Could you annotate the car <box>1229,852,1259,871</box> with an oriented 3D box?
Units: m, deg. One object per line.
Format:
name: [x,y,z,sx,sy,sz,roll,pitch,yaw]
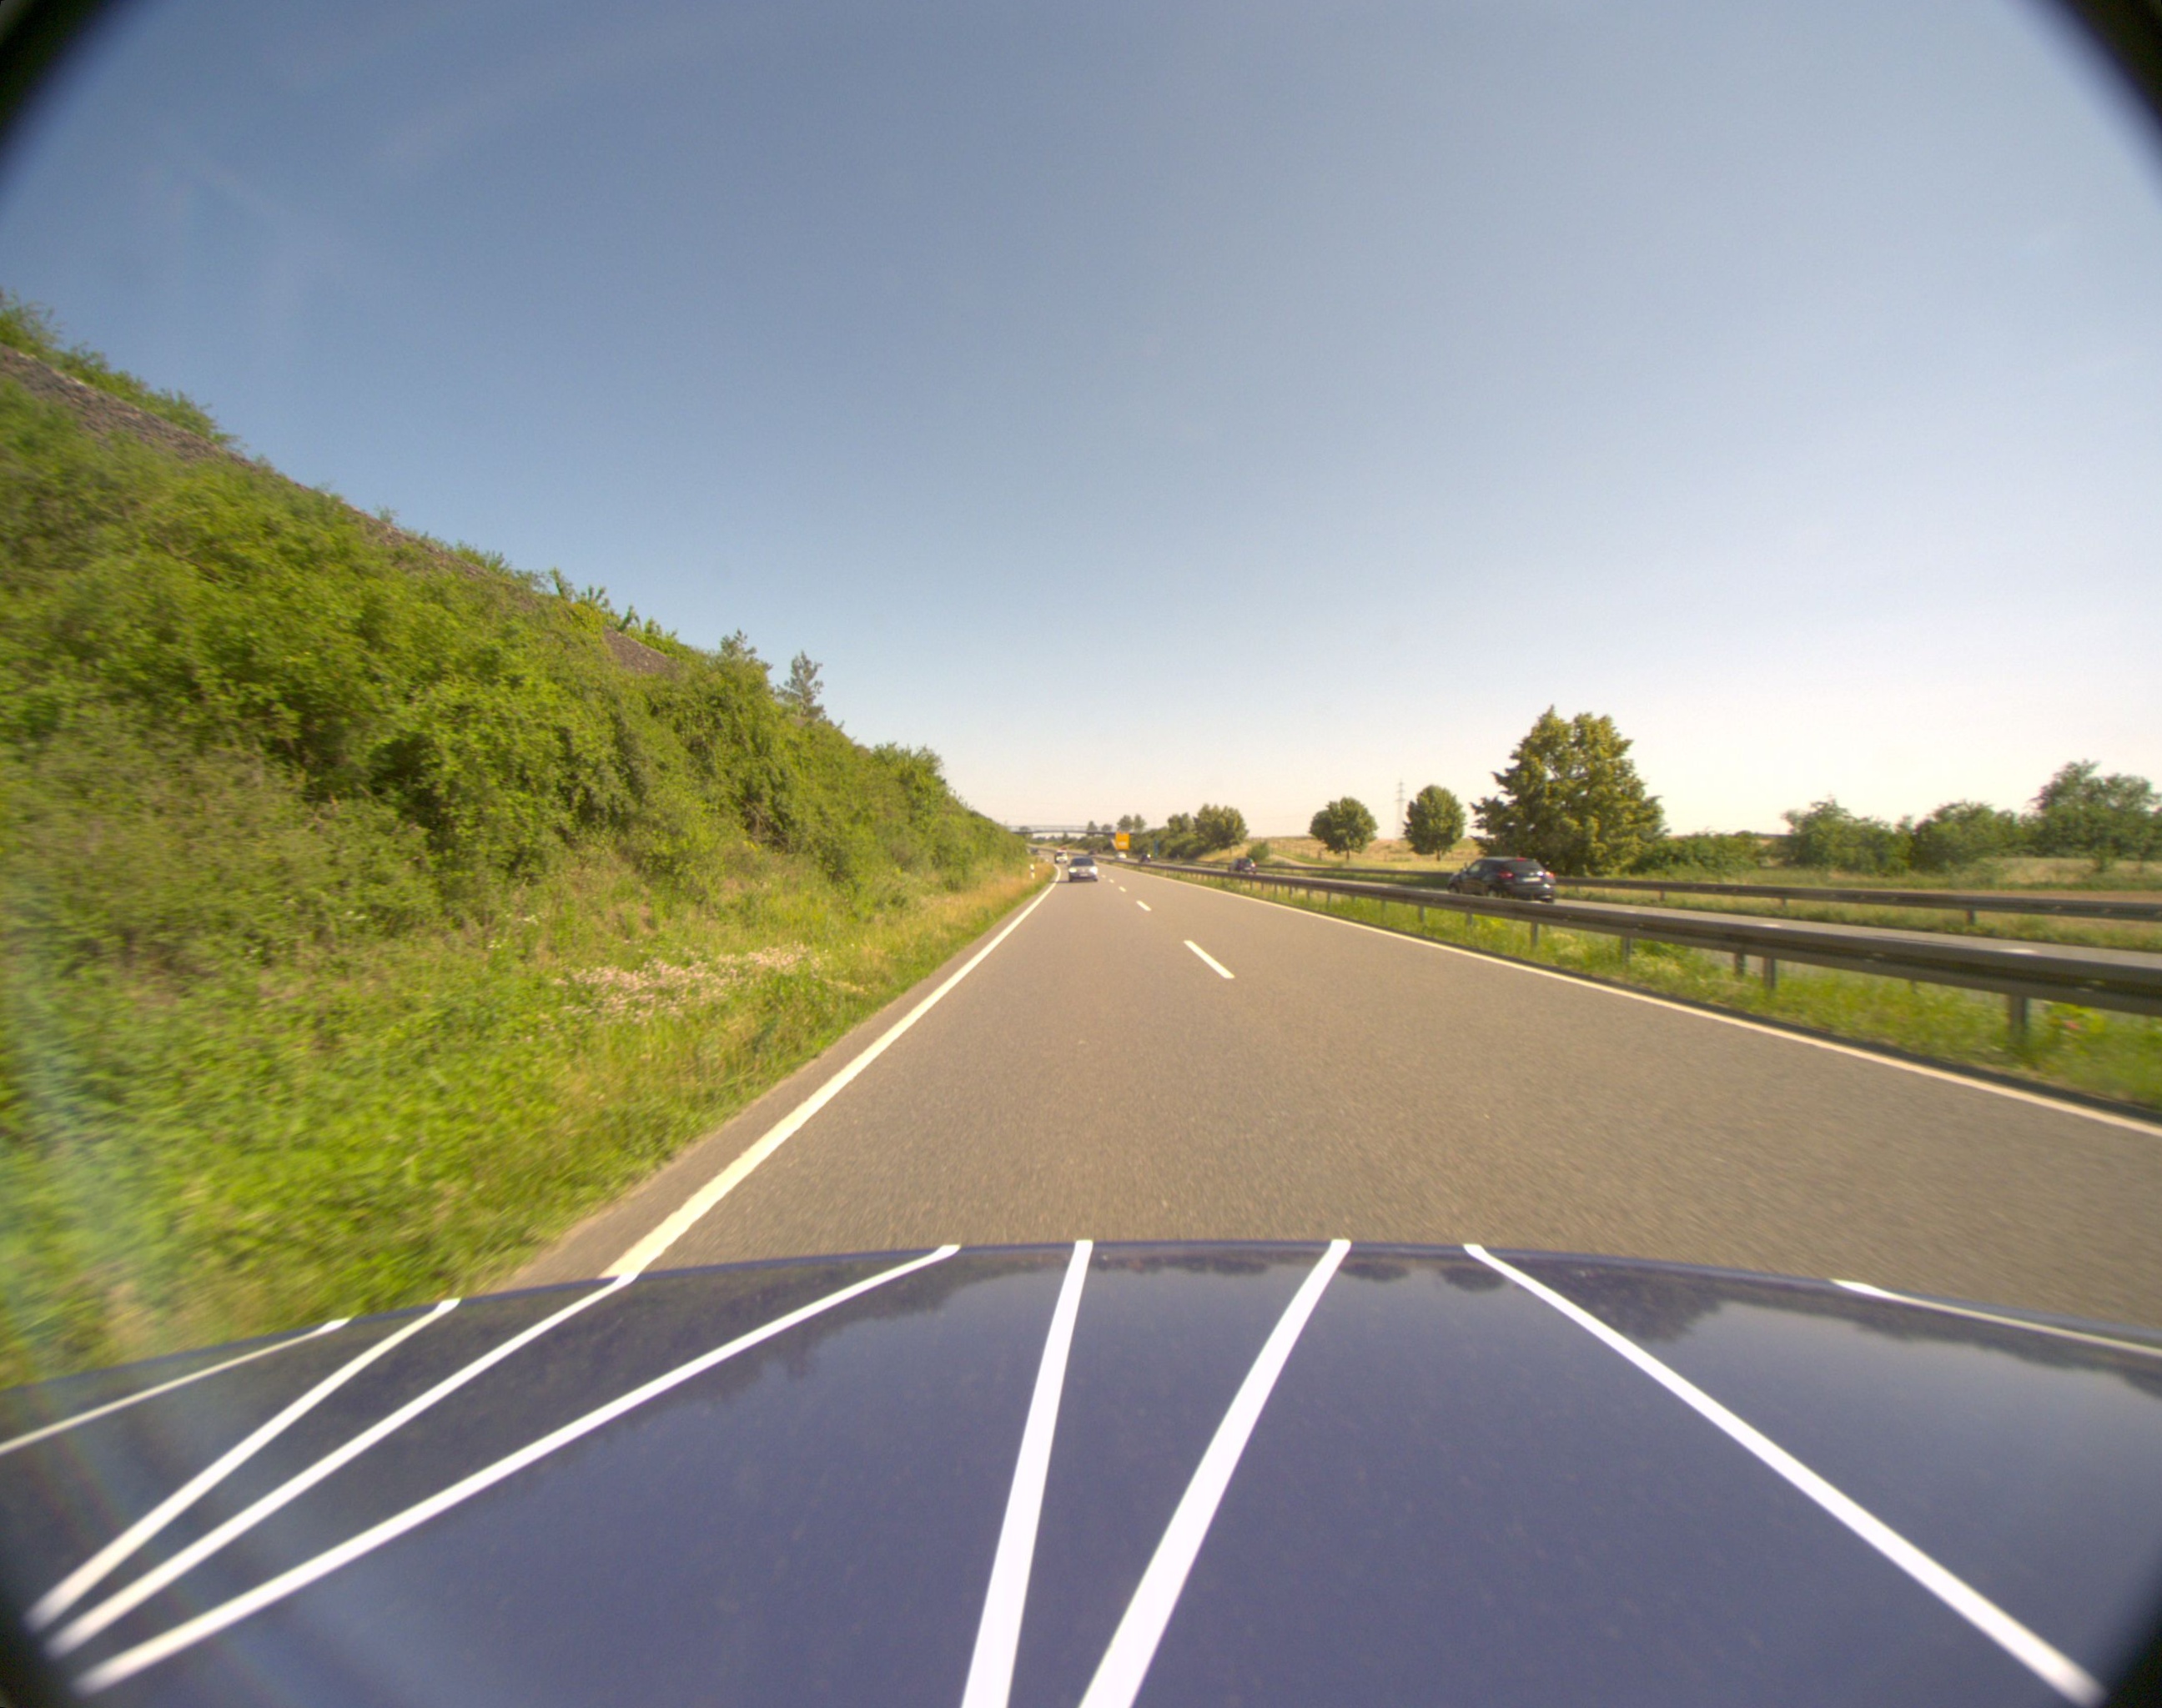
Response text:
car: [14.569,0.660,68.143,1.656,1.544,4.561,-2,0,1]

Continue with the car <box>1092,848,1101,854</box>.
car: [4.012,-0.791,196.917,1.876,1.393,4.321,-2,1,-2]

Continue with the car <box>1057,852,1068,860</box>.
car: [-3.115,0.361,127.571,1.791,1.212,3.998,-1,2,-3]

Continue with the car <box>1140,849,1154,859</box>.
car: [11.345,-0.014,131.186,1.759,1.524,3.999,-2,1,-2]

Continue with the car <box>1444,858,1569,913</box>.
car: [13.217,0.924,23.933,1.694,1.532,4.244,-1,0,2]

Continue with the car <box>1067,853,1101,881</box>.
car: [0.225,0.778,47.988,1.854,1.635,4.001,-2,1,4]

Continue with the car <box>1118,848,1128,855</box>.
car: [8.855,-0.497,160.717,1.673,1.424,4.347,-2,1,-2]
